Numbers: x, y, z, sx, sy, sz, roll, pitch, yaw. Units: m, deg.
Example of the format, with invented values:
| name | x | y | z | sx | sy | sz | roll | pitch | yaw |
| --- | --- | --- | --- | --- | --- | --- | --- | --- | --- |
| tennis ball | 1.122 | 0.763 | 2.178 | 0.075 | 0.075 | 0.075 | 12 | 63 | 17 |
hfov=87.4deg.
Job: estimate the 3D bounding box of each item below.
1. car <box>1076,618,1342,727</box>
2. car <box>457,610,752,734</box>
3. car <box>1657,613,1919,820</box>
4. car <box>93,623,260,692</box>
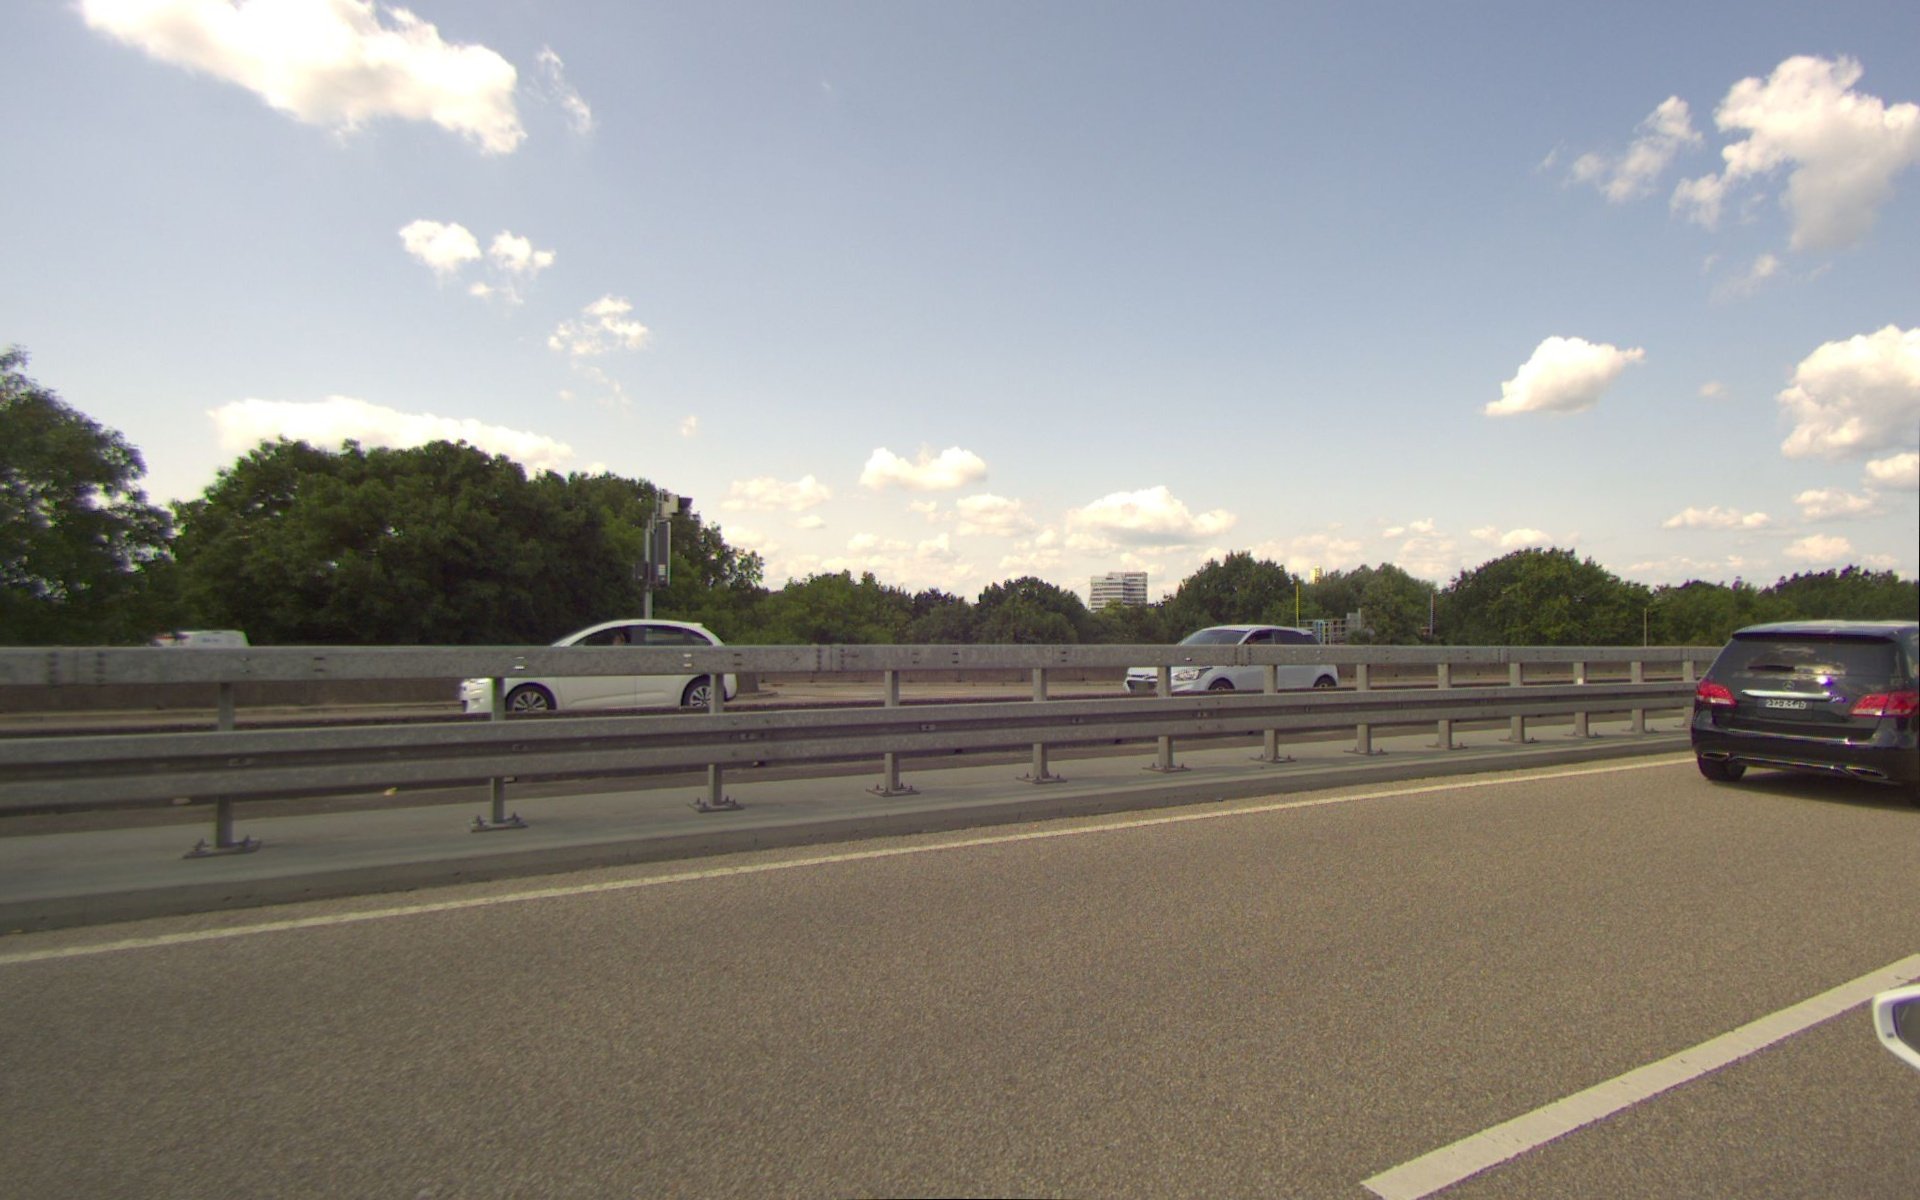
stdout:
| name | x | y | z | sx | sy | sz | roll | pitch | yaw |
| --- | --- | --- | --- | --- | --- | --- | --- | --- | --- |
| car | 4.151 | 1.120 | 16.576 | 4.197 | 1.549 | 1.891 | 2 | 0 | -33 |
| car | -5.294 | 1.009 | 15.031 | 3.906 | 1.602 | 1.821 | 2 | 0 | -29 |
| car | 8.775 | 0.961 | 9.615 | 4.539 | 1.548 | 1.703 | 2 | 0 | -31 |
| car | -25.446 | 1.790 | 32.618 | 5.068 | 1.923 | 1.999 | 2 | 0 | 22 |
